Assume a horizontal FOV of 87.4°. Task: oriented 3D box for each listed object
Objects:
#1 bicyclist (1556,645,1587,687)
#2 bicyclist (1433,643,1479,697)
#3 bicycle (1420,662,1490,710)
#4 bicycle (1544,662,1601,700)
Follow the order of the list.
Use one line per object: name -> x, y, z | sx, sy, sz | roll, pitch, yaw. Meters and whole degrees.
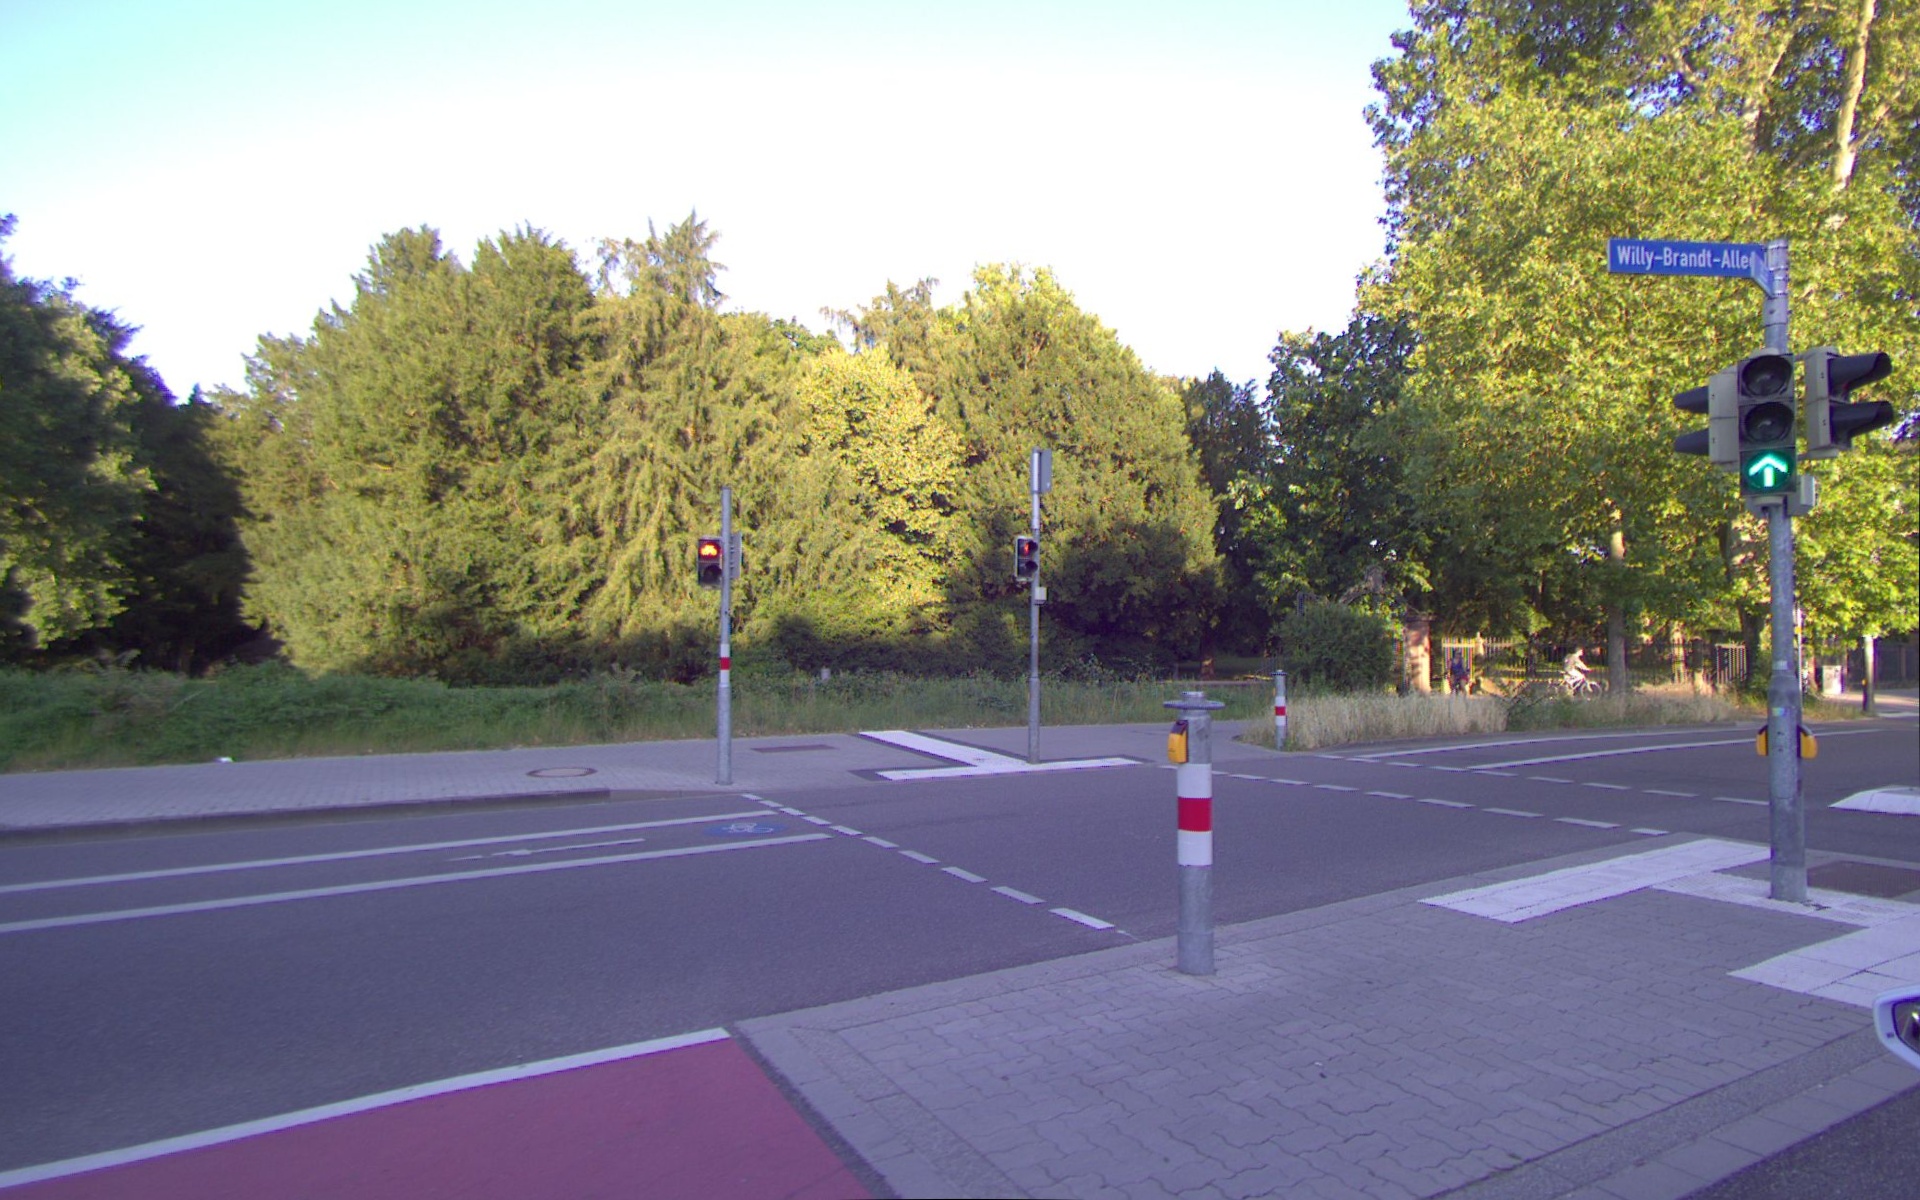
bicyclist -> 20.824, 2.242, 34.199 | 0.823, 1.379, 0.572 | -1, -2, 25
bicyclist -> 13.604, 1.912, 27.562 | 0.882, 1.445, 0.785 | 2, -3, -30
bicycle -> 13.580, 2.339, 27.536 | 1.957, 1.273, 0.785 | 2, -3, -31
bicycle -> 20.809, 2.744, 34.160 | 1.602, 1.245, 0.572 | -1, -2, 25
